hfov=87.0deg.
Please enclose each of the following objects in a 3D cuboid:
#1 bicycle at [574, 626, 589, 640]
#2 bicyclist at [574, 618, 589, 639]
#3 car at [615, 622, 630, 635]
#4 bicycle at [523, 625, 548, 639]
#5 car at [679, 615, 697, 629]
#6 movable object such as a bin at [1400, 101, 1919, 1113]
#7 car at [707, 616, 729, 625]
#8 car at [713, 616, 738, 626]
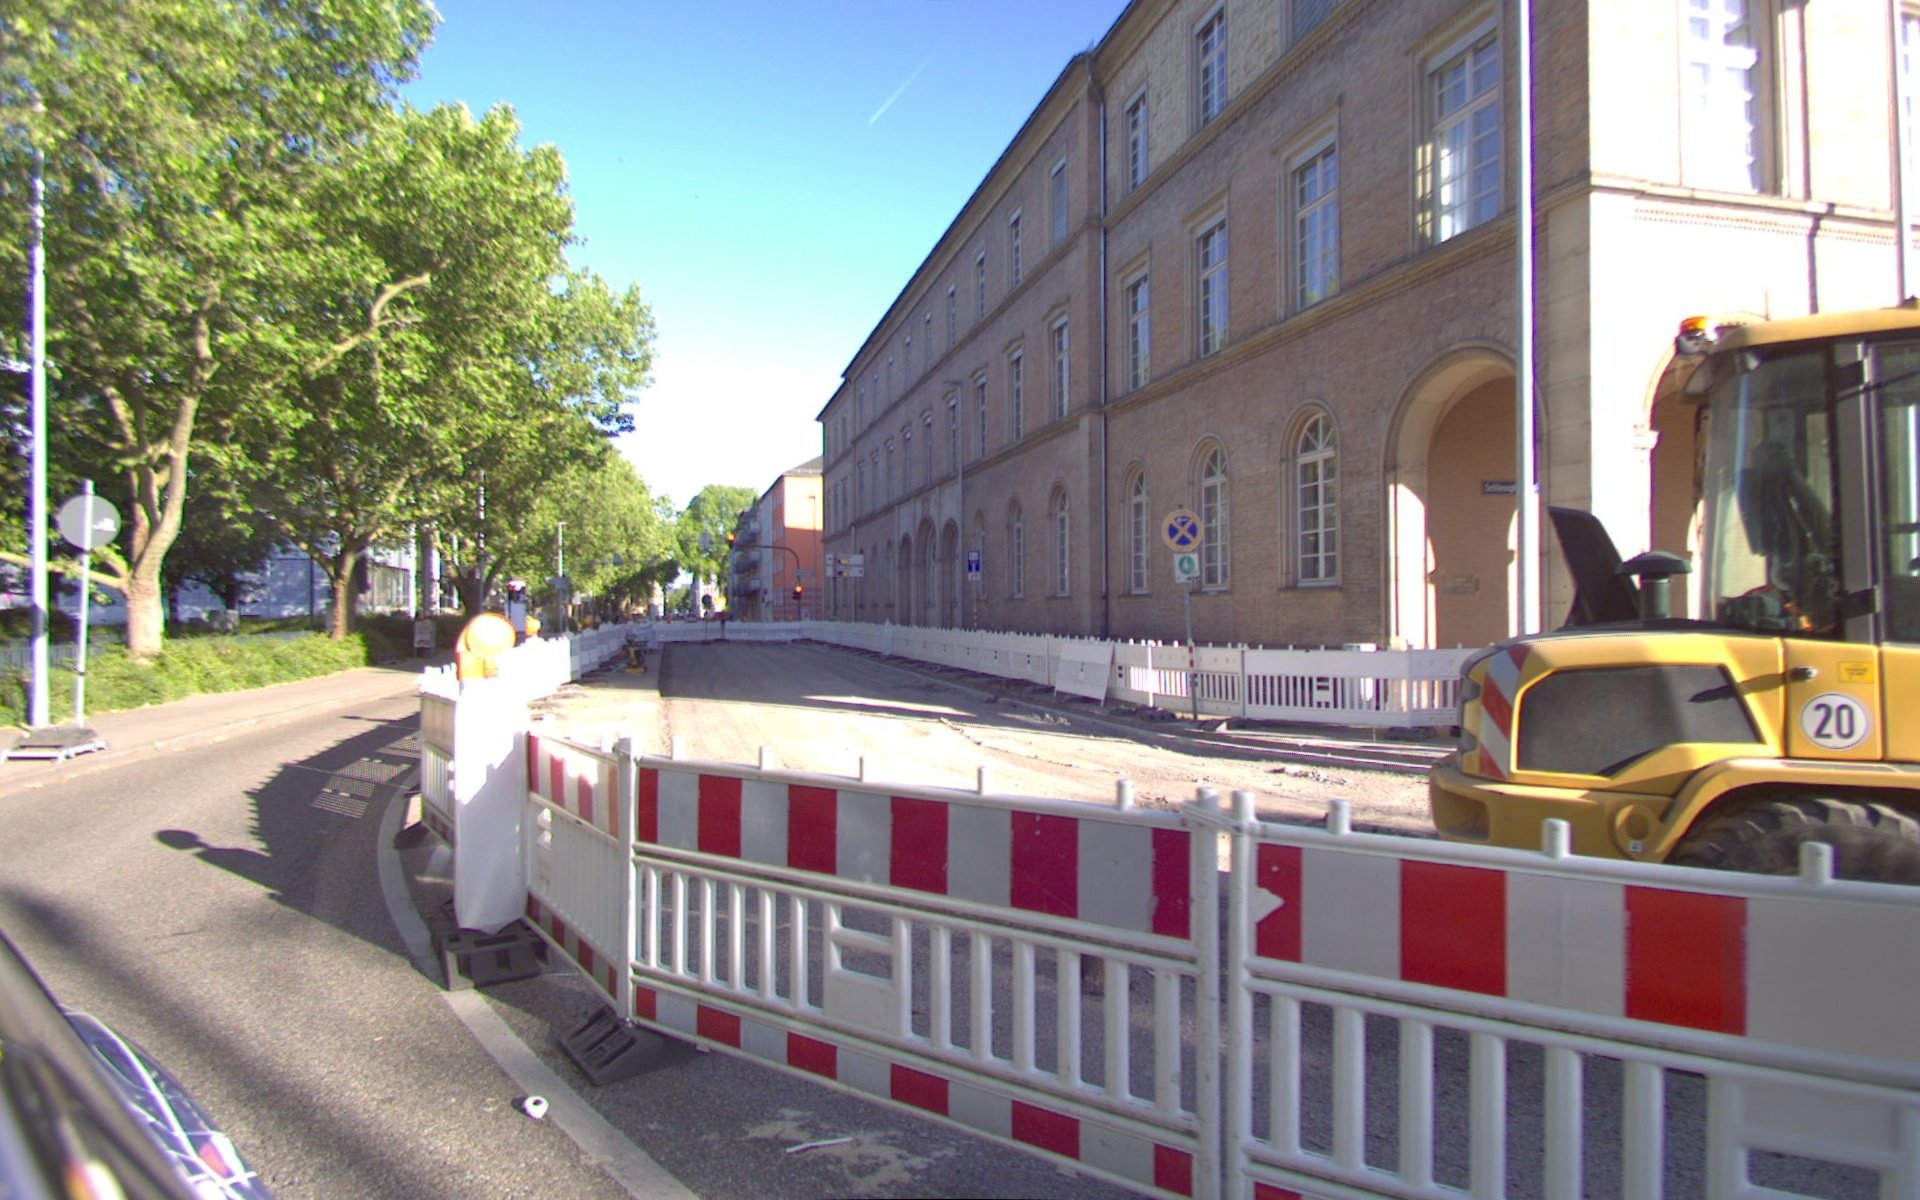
[{"bbox_3d":[-30.317,2.632,81.086,0.693,1.075,1.931,0,-3,-9],"label":"bicycle"},{"bbox_3d":[-30.375,2.257,81.193,0.935,1.652,1.009,-1,-1,-9],"label":"bicyclist"},{"bbox_3d":[-40.381,3.421,121.141,1.757,1.541,4.671,0,-1,-18],"label":"car"},{"bbox_3d":[-32.679,2.440,77.874,1.610,1.006,0.623,3,0,-42],"label":"bicycle"},{"bbox_3d":[-37.945,3.026,141.166,1.965,1.830,5.142,0,0,-21],"label":"car"},{"bbox_3d":[4.811,0.029,3.477,5.903,3.054,2.543,0,-2,28],"label":"movable object such as a bin"},{"bbox_3d":[-46.447,4.020,194.199,3.932,1.712,1.838,0,-1,-14],"label":"car"},{"bbox_3d":[-39.300,3.539,169.476,3.932,1.712,1.838,0,-1,-14],"label":"car"}]
